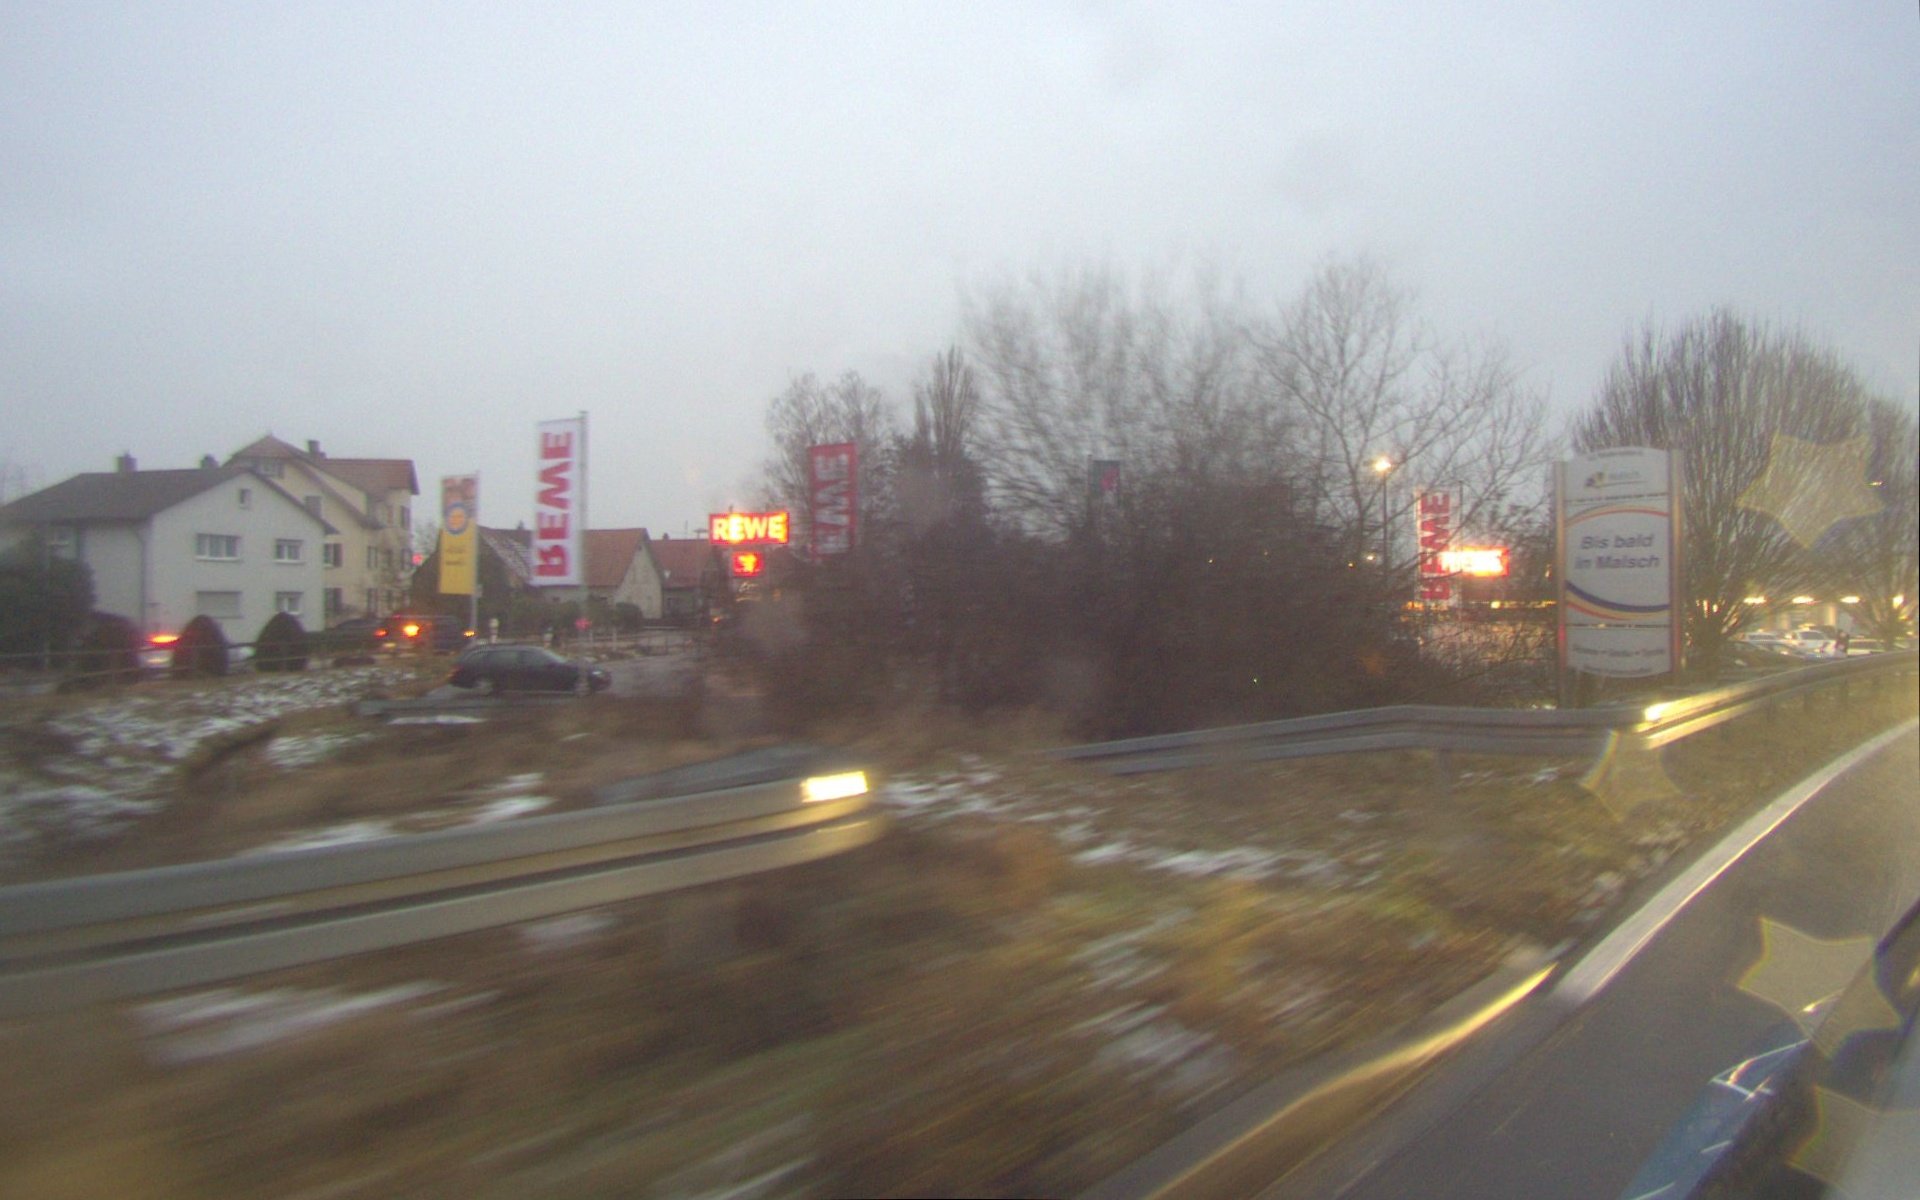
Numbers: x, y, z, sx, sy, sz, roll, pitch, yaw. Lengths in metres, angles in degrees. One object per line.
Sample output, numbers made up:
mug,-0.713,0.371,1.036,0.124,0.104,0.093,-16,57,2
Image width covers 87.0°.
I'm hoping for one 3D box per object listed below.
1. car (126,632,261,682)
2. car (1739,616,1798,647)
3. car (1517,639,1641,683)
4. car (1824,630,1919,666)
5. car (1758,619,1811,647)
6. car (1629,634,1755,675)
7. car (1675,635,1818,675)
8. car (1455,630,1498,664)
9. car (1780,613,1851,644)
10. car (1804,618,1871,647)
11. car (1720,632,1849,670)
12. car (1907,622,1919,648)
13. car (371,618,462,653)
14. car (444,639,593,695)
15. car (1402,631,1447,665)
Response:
car,-26.270,1.910,34.851,1.727,1.511,3.852,-2,-1,-1
car,44.552,1.696,55.846,1.790,1.554,4.497,0,0,29
car,23.924,2.329,39.283,3.962,1.457,1.780,0,1,28
car,42.775,2.192,46.334,4.673,1.414,1.881,1,1,35
car,50.340,1.964,61.845,1.711,1.520,3.988,0,1,27
car,29.995,2.203,41.618,3.962,1.438,1.616,0,1,28
car,33.161,2.293,42.853,4.551,1.473,1.910,0,1,32
car,25.672,2.309,50.239,1.731,1.443,4.271,0,1,30
car,48.048,1.585,56.958,1.806,1.660,4.433,0,-1,23
car,54.408,2.003,62.800,1.778,1.615,3.955,0,1,19
car,36.093,2.217,44.433,4.148,1.414,1.883,1,1,32
car,58.284,2.110,60.183,1.699,1.536,3.235,-1,-1,21
car,-25.771,1.640,48.133,1.887,1.511,3.698,-3,-1,11
car,-13.077,1.965,30.176,3.868,1.420,1.614,-1,-1,-16
car,22.506,2.290,48.957,1.557,1.448,3.719,0,0,31
